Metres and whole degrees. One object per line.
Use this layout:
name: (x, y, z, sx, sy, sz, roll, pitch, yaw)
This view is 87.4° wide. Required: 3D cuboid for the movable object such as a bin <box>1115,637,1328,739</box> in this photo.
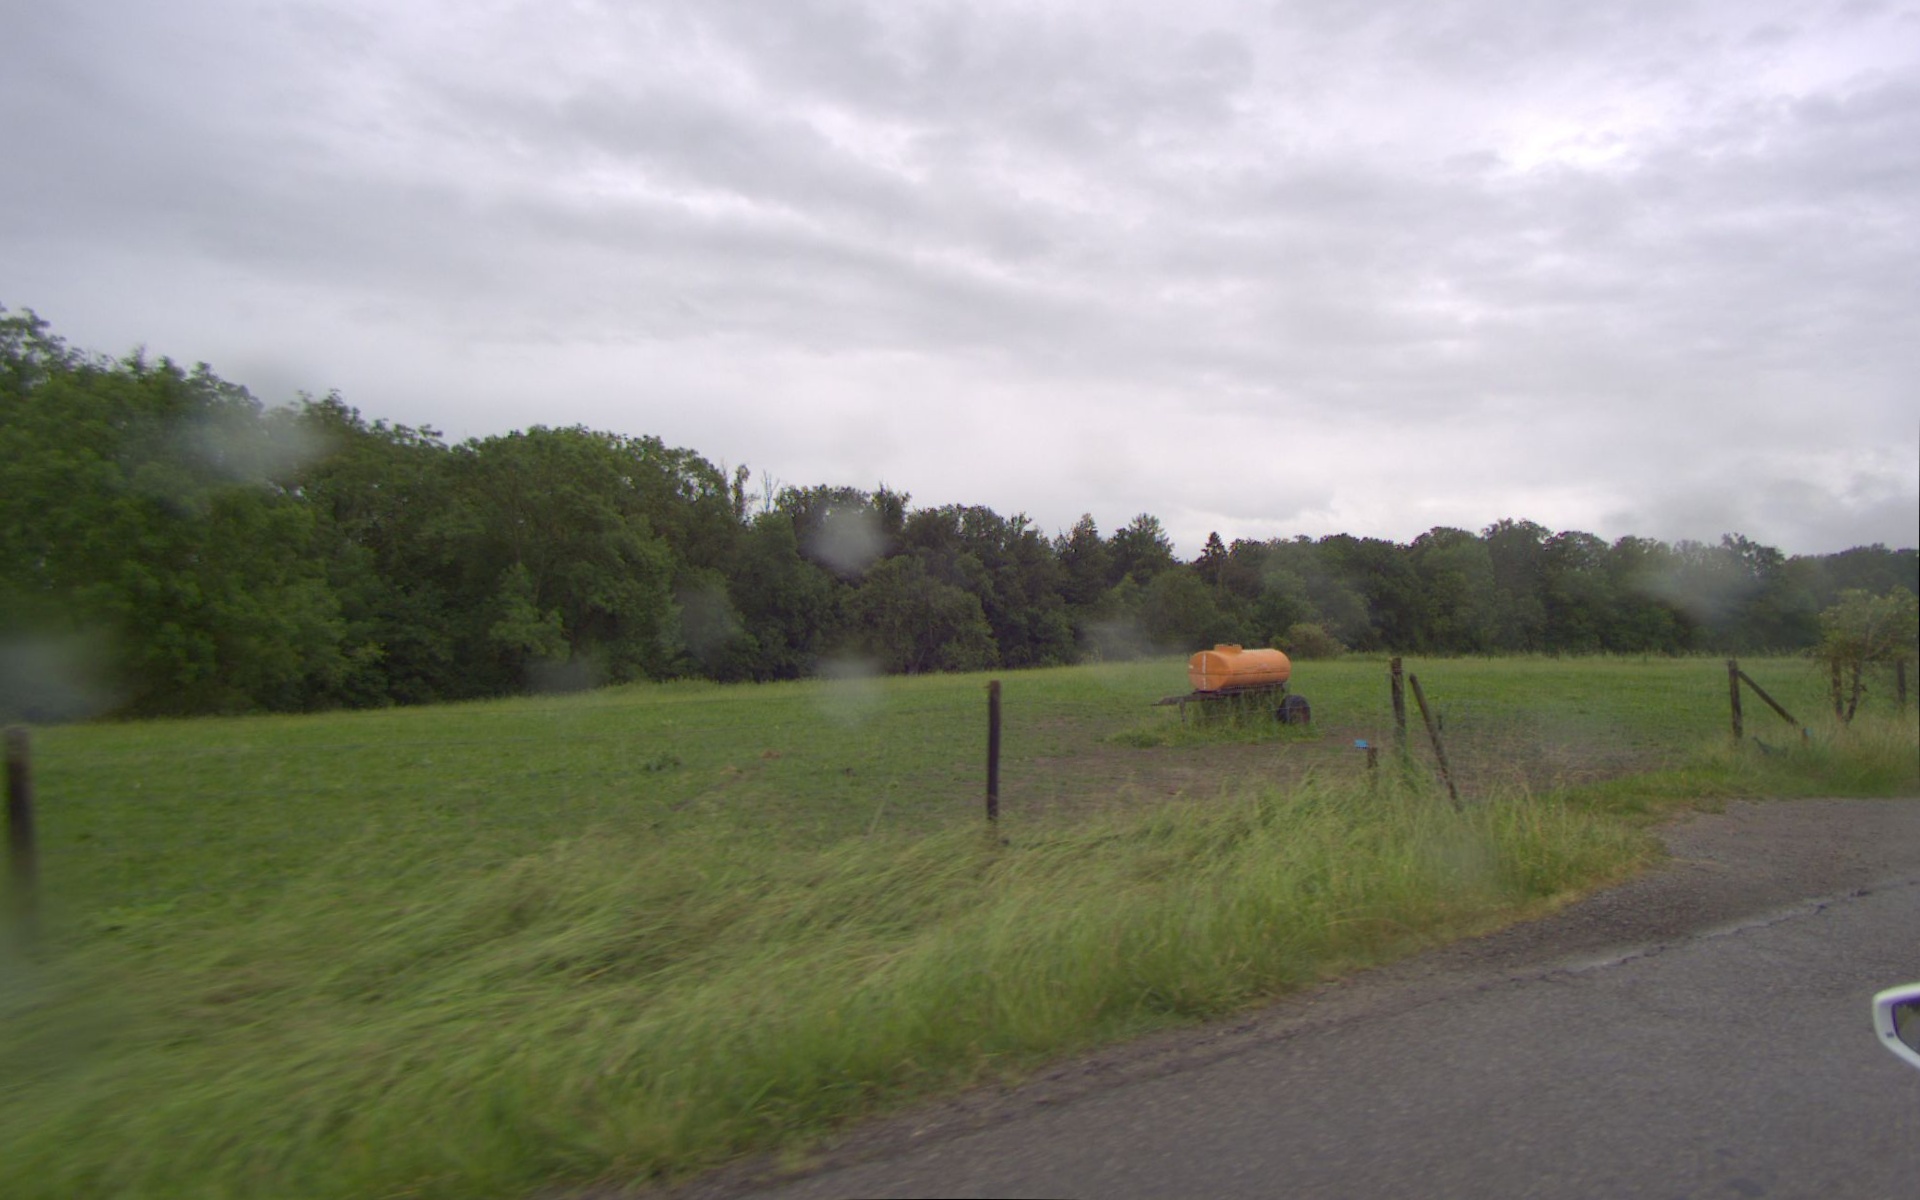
movable object such as a bin: (4.612, 1.509, 17.643, 3.499, 1.591, 1.670, 3, -2, -32)
